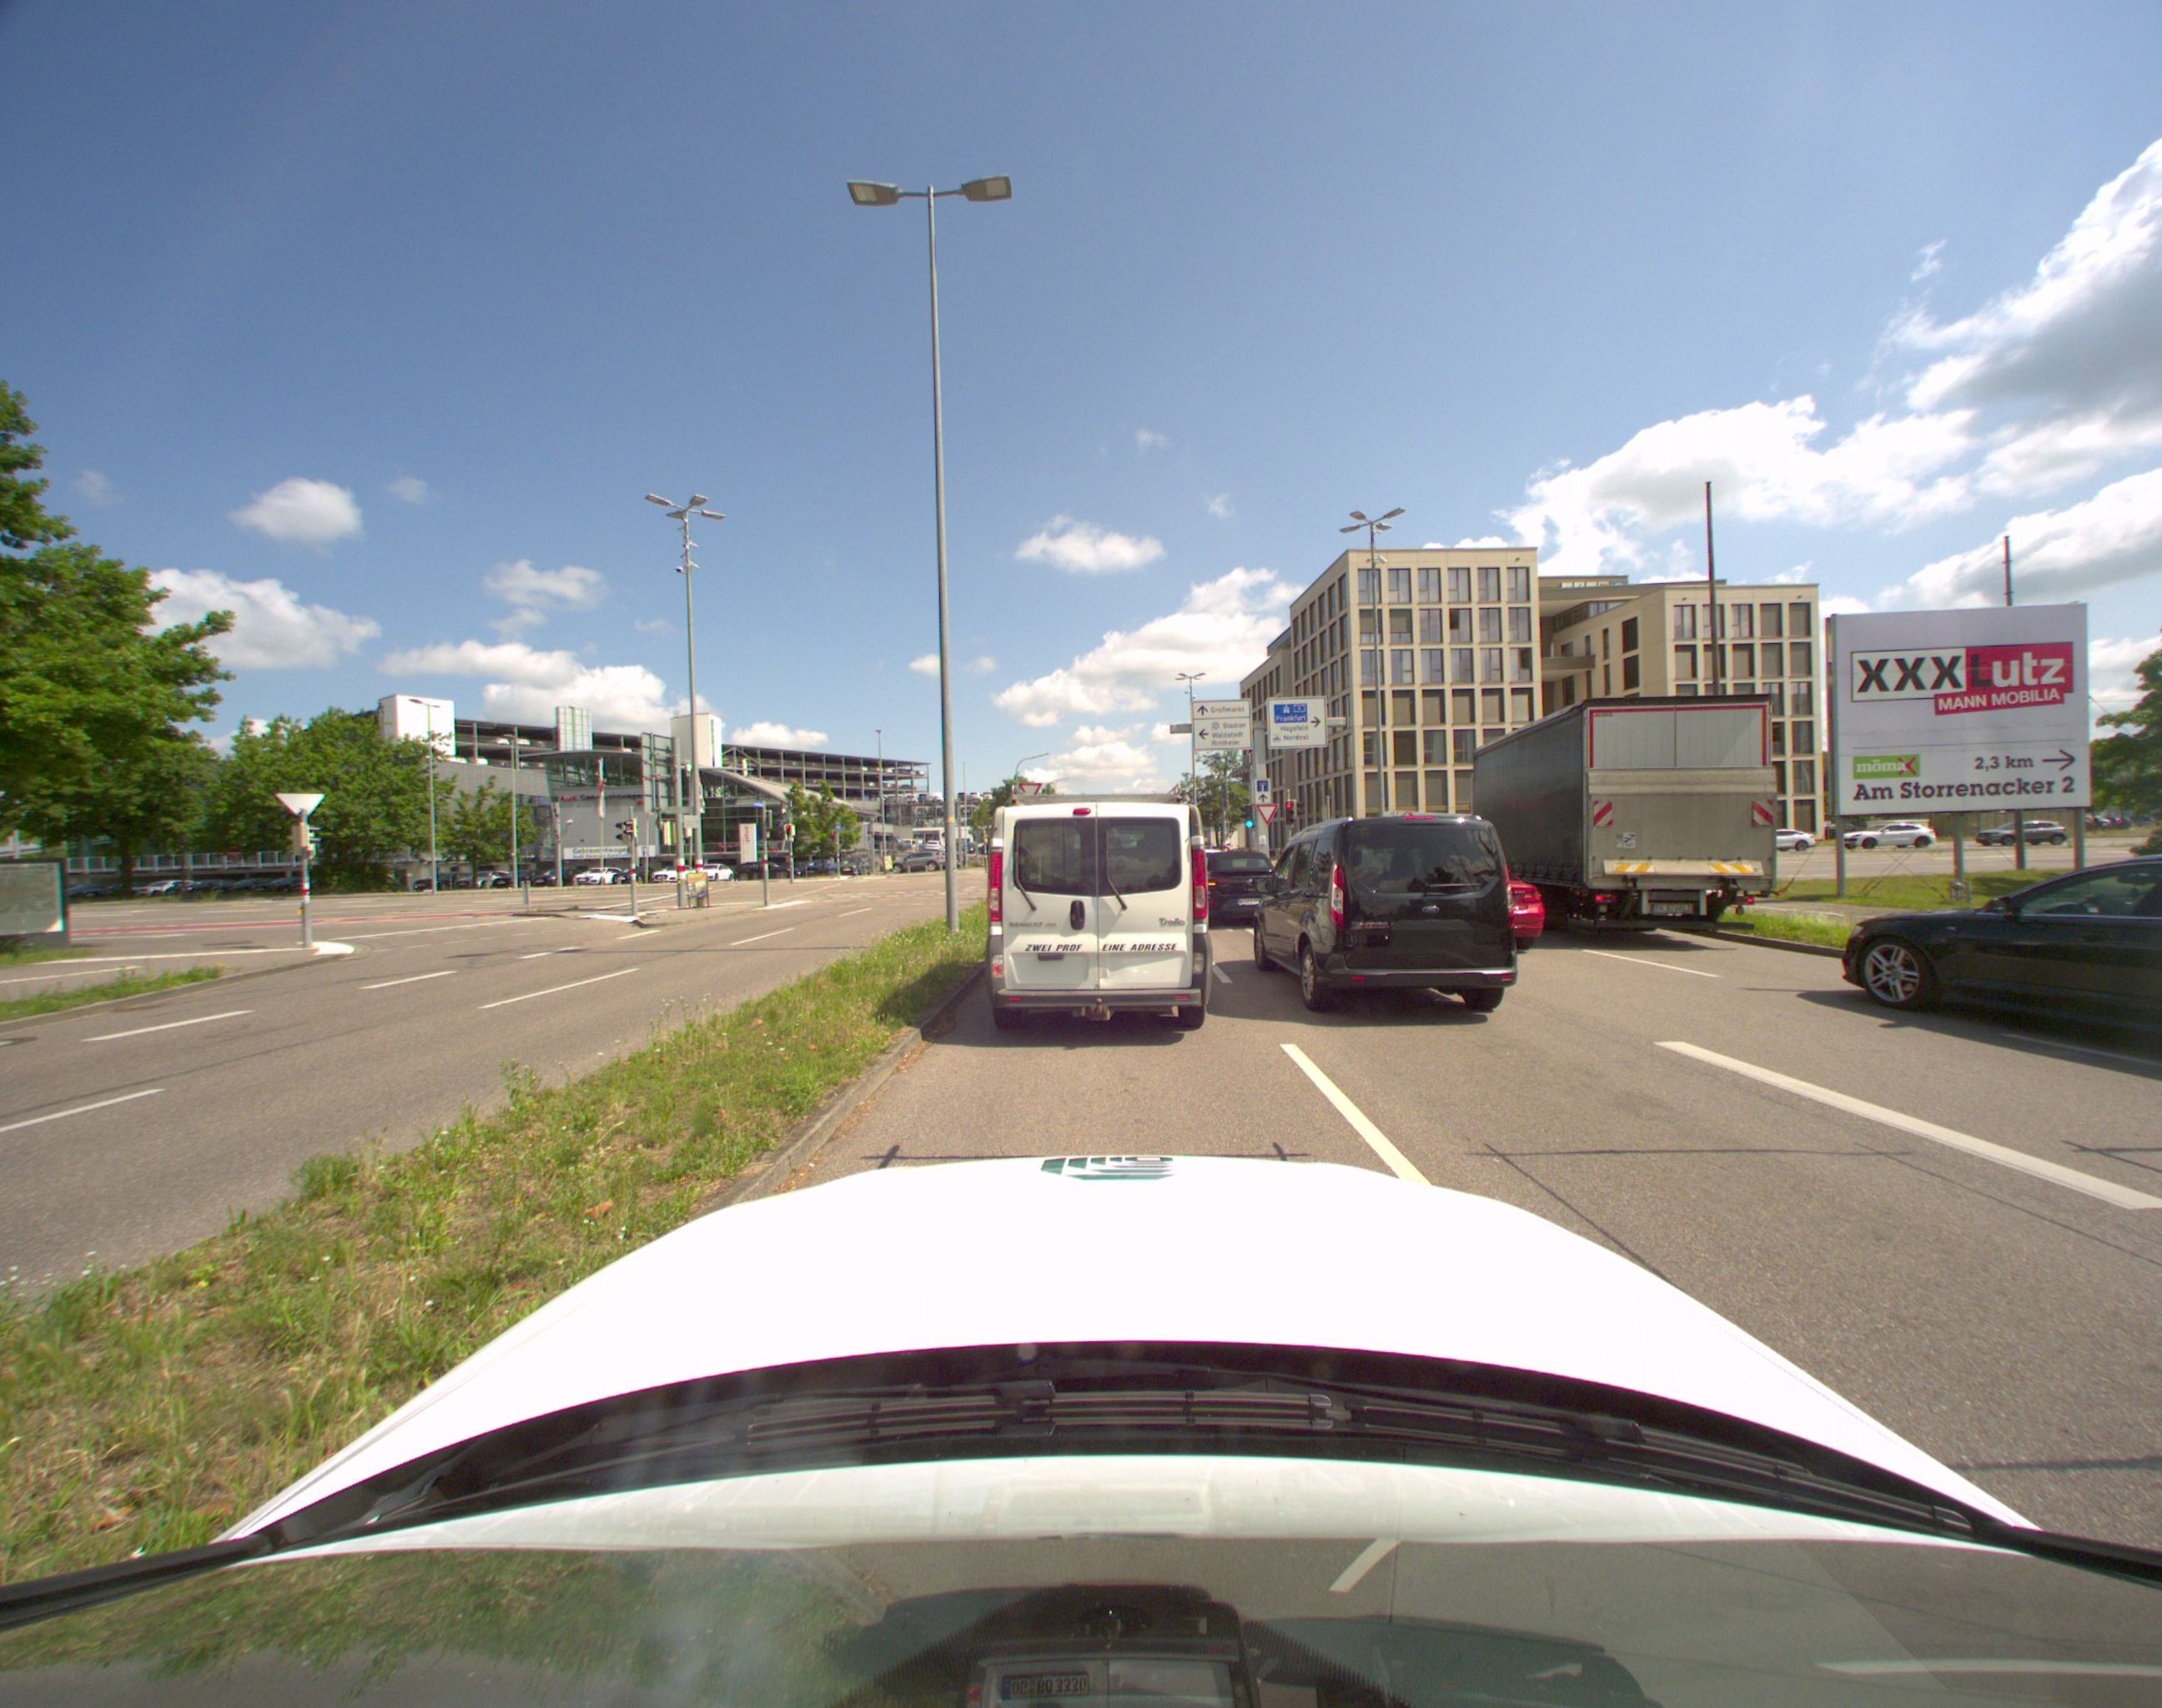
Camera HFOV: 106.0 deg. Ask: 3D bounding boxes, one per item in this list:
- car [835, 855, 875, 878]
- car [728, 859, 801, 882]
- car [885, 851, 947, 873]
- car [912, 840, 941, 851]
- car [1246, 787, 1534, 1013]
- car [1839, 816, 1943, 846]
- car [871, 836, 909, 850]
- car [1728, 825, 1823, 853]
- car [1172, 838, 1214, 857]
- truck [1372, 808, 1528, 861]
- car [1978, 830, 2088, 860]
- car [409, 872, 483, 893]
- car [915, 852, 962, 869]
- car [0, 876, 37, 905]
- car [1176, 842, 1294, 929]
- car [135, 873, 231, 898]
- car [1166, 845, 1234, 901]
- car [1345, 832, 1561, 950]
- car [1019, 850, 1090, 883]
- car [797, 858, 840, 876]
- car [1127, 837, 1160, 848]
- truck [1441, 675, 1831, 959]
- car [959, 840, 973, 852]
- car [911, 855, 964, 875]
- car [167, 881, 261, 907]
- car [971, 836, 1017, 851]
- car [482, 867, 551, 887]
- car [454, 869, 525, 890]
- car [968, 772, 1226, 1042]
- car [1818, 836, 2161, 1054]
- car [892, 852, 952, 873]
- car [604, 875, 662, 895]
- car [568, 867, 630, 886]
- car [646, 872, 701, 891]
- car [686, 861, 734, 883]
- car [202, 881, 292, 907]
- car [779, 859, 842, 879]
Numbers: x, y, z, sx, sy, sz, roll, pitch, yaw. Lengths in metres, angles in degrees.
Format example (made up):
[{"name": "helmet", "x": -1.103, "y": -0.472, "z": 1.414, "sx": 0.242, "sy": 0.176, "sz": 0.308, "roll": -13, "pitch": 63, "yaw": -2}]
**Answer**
[{"name": "car", "x": -16.765, "y": 0.905, "z": 60.660, "sx": 1.896, "sy": 1.678, "sz": 4.585, "roll": 0, "pitch": -1, "yaw": -3}, {"name": "car", "x": -23.509, "y": 1.240, "z": 60.626, "sx": 4.731, "sy": 1.464, "sz": 1.793, "roll": -2, "pitch": -3, "yaw": -4}, {"name": "car", "x": -13.117, "y": 0.617, "z": 65.119, "sx": 4.562, "sy": 1.678, "sz": 1.906, "roll": 0, "pitch": -1, "yaw": -2}, {"name": "car", "x": -22.147, "y": -1.195, "z": 116.890, "sx": 3.987, "sy": 1.552, "sz": 1.759, "roll": 0, "pitch": -1, "yaw": -10}, {"name": "car", "x": 3.043, "y": 0.392, "z": 8.970, "sx": 1.816, "sy": 1.905, "sz": 4.003, "roll": -1, "pitch": 0, "yaw": 3}, {"name": "car", "x": 54.070, "y": -1.511, "z": 54.440, "sx": 4.667, "sy": 1.838, "sz": 1.834, "roll": -1, "pitch": -1, "yaw": 12}, {"name": "car", "x": -24.489, "y": -1.431, "z": 104.385, "sx": 4.432, "sy": 1.801, "sz": 1.762, "roll": 0, "pitch": -1, "yaw": -4}, {"name": "car", "x": 47.321, "y": -0.981, "z": 55.600, "sx": 4.683, "sy": 1.838, "sz": 1.832, "roll": 0, "pitch": -1, "yaw": 8}, {"name": "car", "x": 11.779, "y": -0.676, "z": 85.843, "sx": 3.982, "sy": 2.014, "sz": 1.996, "roll": 0, "pitch": -1, "yaw": -7}, {"name": "truck", "x": 25.239, "y": -1.320, "z": 55.829, "sx": 9.737, "sy": 3.555, "sz": 2.670, "roll": 0, "pitch": -1, "yaw": -6}, {"name": "car", "x": 61.497, "y": -0.552, "z": 52.704, "sx": 4.401, "sy": 1.838, "sz": 1.834, "roll": -1, "pitch": -1, "yaw": 12}, {"name": "car", "x": -45.795, "y": 2.050, "z": 58.876, "sx": 1.896, "sy": 1.405, "sz": 4.584, "roll": 0, "pitch": -2, "yaw": -3}, {"name": "car", "x": -14.751, "y": 0.652, "z": 84.483, "sx": 4.562, "sy": 1.678, "sz": 1.906, "roll": 0, "pitch": -1, "yaw": -2}, {"name": "car", "x": -77.847, "y": 2.602, "z": 57.729, "sx": 1.896, "sy": 2.049, "sz": 4.585, "roll": 0, "pitch": -1, "yaw": -3}, {"name": "car", "x": 3.188, "y": 0.600, "z": 17.623, "sx": 1.768, "sy": 1.629, "sz": 3.999, "roll": -1, "pitch": 0, "yaw": -1}, {"name": "car", "x": -64.226, "y": 2.212, "z": 58.399, "sx": 1.896, "sy": 1.678, "sz": 4.585, "roll": 0, "pitch": -1, "yaw": -3}, {"name": "car", "x": 3.731, "y": 0.552, "z": 26.158, "sx": 1.766, "sy": 1.629, "sz": 4.003, "roll": -1, "pitch": 0, "yaw": 3}, {"name": "car", "x": 5.949, "y": 0.552, "z": 13.661, "sx": 1.851, "sy": 1.655, "sz": 4.221, "roll": -1, "pitch": -1, "yaw": 3}, {"name": "car", "x": -1.286, "y": 0.551, "z": 37.603, "sx": 1.864, "sy": 1.442, "sz": 3.966, "roll": 0, "pitch": -1, "yaw": -26}, {"name": "car", "x": -19.447, "y": 0.948, "z": 60.604, "sx": 1.896, "sy": 1.297, "sz": 4.585, "roll": 0, "pitch": -1, "yaw": -3}, {"name": "car", "x": 12.394, "y": -2.273, "z": 162.601, "sx": 6.321, "sy": 2.014, "sz": 2.572, "roll": 0, "pitch": -1, "yaw": -1}, {"name": "truck", "x": 9.951, "y": -0.481, "z": 16.272, "sx": 3.191, "sy": 4.027, "sz": 9.100, "roll": -1, "pitch": -1, "yaw": 12}, {"name": "car", "x": -15.414, "y": -1.044, "z": 109.588, "sx": 1.557, "sy": 1.552, "sz": 3.598, "roll": 0, "pitch": -1, "yaw": -3}, {"name": "car", "x": -13.402, "y": 1.021, "z": 76.075, "sx": 4.562, "sy": 1.678, "sz": 1.906, "roll": -2, "pitch": 1, "yaw": -2}, {"name": "car", "x": -61.855, "y": 2.807, "z": 58.195, "sx": 1.896, "sy": 1.678, "sz": 4.585, "roll": 0, "pitch": -1, "yaw": -3}, {"name": "car", "x": -12.451, "y": -1.446, "z": 116.493, "sx": 6.373, "sy": 2.102, "sz": 1.763, "roll": 0, "pitch": -1, "yaw": -4}, {"name": "car", "x": -40.736, "y": 1.689, "z": 58.884, "sx": 1.896, "sy": 1.384, "sz": 4.584, "roll": 0, "pitch": -2, "yaw": -3}, {"name": "car", "x": -42.802, "y": 1.908, "z": 59.069, "sx": 1.896, "sy": 1.405, "sz": 4.584, "roll": 0, "pitch": -3, "yaw": -3}, {"name": "car", "x": 0.193, "y": 0.410, "z": 8.603, "sx": 1.965, "sy": 2.060, "sz": 4.566, "roll": -1, "pitch": 0, "yaw": 2}, {"name": "car", "x": 8.242, "y": 0.604, "z": 5.866, "sx": 1.767, "sy": 1.478, "sz": 4.682, "roll": -1, "pitch": 0, "yaw": 2}, {"name": "car", "x": -13.119, "y": 0.670, "z": 67.403, "sx": 4.562, "sy": 1.678, "sz": 1.906, "roll": 0, "pitch": -1, "yaw": -2}, {"name": "car", "x": -32.695, "y": 2.260, "z": 59.578, "sx": 1.896, "sy": 1.297, "sz": 4.585, "roll": 0, "pitch": -1, "yaw": -3}, {"name": "car", "x": -35.136, "y": 1.635, "z": 59.493, "sx": 1.896, "sy": 1.297, "sz": 4.585, "roll": 0, "pitch": -1, "yaw": -3}, {"name": "car", "x": -29.921, "y": 2.010, "z": 59.923, "sx": 1.896, "sy": 1.297, "sz": 4.585, "roll": 0, "pitch": -1, "yaw": -3}, {"name": "car", "x": -27.259, "y": 1.371, "z": 59.981, "sx": 1.786, "sy": 1.464, "sz": 3.995, "roll": -2, "pitch": -3, "yaw": -3}, {"name": "car", "x": -59.856, "y": 2.850, "z": 58.581, "sx": 1.896, "sy": 1.678, "sz": 4.585, "roll": 0, "pitch": -1, "yaw": -3}, {"name": "car", "x": -23.278, "y": 1.319, "z": 70.155, "sx": 4.731, "sy": 1.511, "sz": 1.982, "roll": -2, "pitch": -3, "yaw": -4}]
